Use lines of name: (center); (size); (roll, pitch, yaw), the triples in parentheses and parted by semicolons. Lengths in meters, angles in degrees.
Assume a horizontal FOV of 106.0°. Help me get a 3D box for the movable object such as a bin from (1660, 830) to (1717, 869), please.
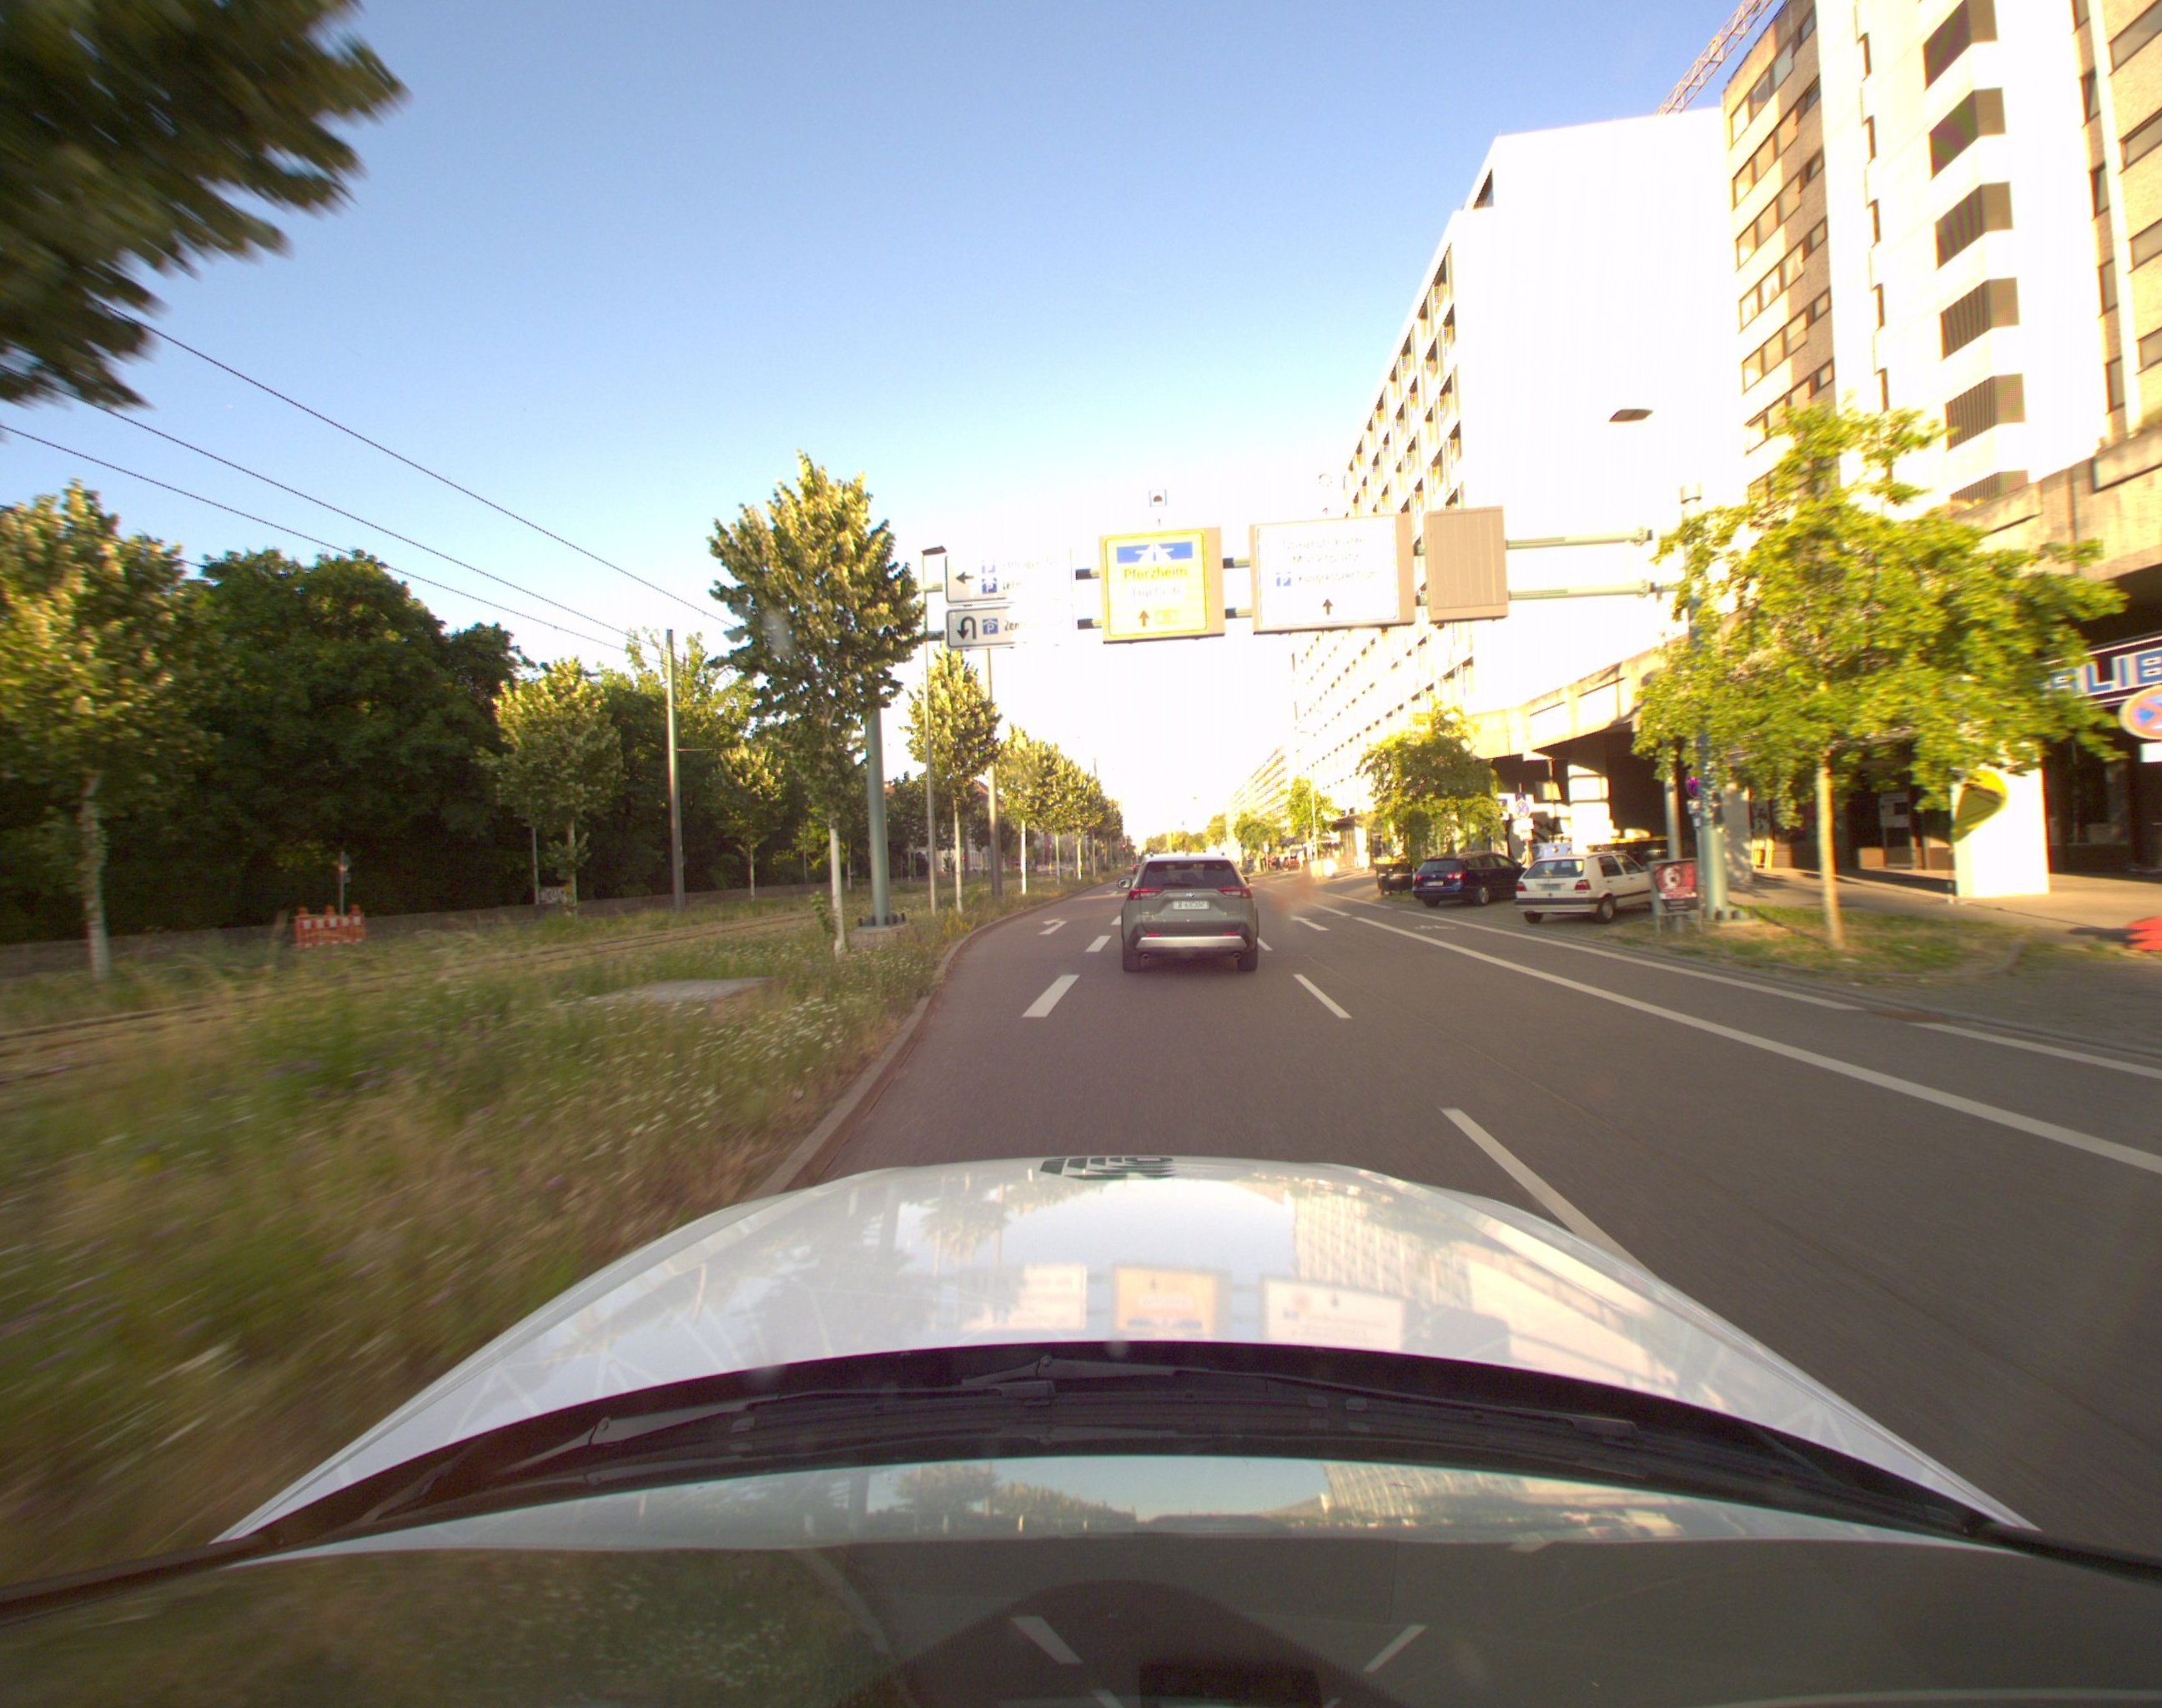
movable object such as a bin: (21.727, -0.168, 29.165); (1.176, 1.313, 1.126); (-3, 0, 4)

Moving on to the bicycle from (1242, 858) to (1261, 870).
bicycle: (17.850, 1.040, 85.036); (1.787, 1.193, 0.568); (-5, -1, 1)

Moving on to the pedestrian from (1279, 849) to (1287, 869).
pedestrian: (18.670, 0.491, 75.300); (0.572, 1.786, 0.832); (-4, -2, 14)

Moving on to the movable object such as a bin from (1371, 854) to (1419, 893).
movable object such as a bin: (11.219, 0.681, 29.167); (1.081, 1.301, 1.361); (-5, -1, -1)

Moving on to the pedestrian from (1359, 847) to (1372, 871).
pedestrian: (19.531, 0.328, 55.922); (0.574, 1.619, 0.643); (-4, -1, 3)

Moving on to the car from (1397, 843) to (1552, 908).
car: (11.628, 0.608, 23.986); (4.688, 1.508, 1.919); (-4, -1, -34)

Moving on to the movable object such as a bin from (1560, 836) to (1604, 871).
movable object such as a bin: (20.617, -0.024, 33.560); (1.069, 1.330, 1.204); (-3, -1, 5)

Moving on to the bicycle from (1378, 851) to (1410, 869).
bicycle: (21.327, 0.413, 55.576); (1.877, 1.010, 0.566); (-5, -1, 3)

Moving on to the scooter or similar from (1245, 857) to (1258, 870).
scooter or similar: (17.704, 0.974, 84.513); (1.205, 1.201, 0.480); (-5, -1, 0)

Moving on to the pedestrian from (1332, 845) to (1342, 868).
pedestrian: (21.195, 0.218, 67.460); (0.614, 1.811, 0.780); (-6, -2, 15)

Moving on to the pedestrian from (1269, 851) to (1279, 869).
pedestrian: (19.383, 0.635, 81.743); (0.682, 1.735, 0.762); (-5, -1, 5)

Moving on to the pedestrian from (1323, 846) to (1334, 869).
pedestrian: (20.551, 0.274, 67.640); (0.750, 1.824, 0.944); (-5, -1, 15)

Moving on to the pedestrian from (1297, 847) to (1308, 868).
pedestrian: (20.141, 0.315, 74.217); (0.818, 1.888, 0.869); (-4, -2, 14)

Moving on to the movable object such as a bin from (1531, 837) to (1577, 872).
movable object such as a bin: (19.432, 0.036, 33.474); (1.099, 1.329, 1.285); (-4, -1, 5)

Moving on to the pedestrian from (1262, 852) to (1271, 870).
pedestrian: (18.638, 0.714, 81.759); (0.650, 1.702, 0.690); (-4, -1, 5)

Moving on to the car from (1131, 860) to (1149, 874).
car: (6.221, 1.367, 85.444); (1.666, 1.352, 4.007); (-1, 0, 6)

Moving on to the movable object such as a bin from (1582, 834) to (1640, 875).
movable object such as a bin: (18.965, 0.024, 29.186); (1.176, 1.323, 1.268); (-5, -1, 4)

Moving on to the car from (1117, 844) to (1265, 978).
car: (1.604, 0.729, 12.461); (1.825, 1.672, 4.289); (-1, 0, 6)

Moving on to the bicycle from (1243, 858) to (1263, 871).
bicycle: (17.570, 1.100, 83.230); (1.837, 1.182, 0.609); (-5, -1, 5)

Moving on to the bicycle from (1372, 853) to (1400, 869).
bicycle: (21.608, 0.480, 57.662); (1.693, 0.986, 0.551); (-4, -1, 2)

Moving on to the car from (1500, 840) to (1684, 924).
car: (11.067, 0.579, 17.567); (4.006, 1.416, 1.733); (-4, -1, -33)

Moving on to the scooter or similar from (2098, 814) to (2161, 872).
scooter or similar: (21.703, -0.223, 16.269); (0.400, 1.161, 1.828); (0, 0, -3)

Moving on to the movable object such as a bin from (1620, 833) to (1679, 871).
movable object such as a bin: (20.331, -0.066, 29.174); (1.176, 1.299, 1.306); (-3, 0, 4)

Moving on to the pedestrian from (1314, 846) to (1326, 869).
pedestrian: (19.885, 0.321, 67.722); (0.738, 1.849, 0.944); (-5, -2, 15)

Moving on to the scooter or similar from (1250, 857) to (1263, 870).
scooter or similar: (17.713, 0.940, 82.035); (1.149, 1.191, 0.511); (-5, -3, 7)

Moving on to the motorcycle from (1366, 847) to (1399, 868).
motorcycle: (21.935, 0.271, 59.305); (2.111, 1.386, 0.670); (-4, 0, -9)
